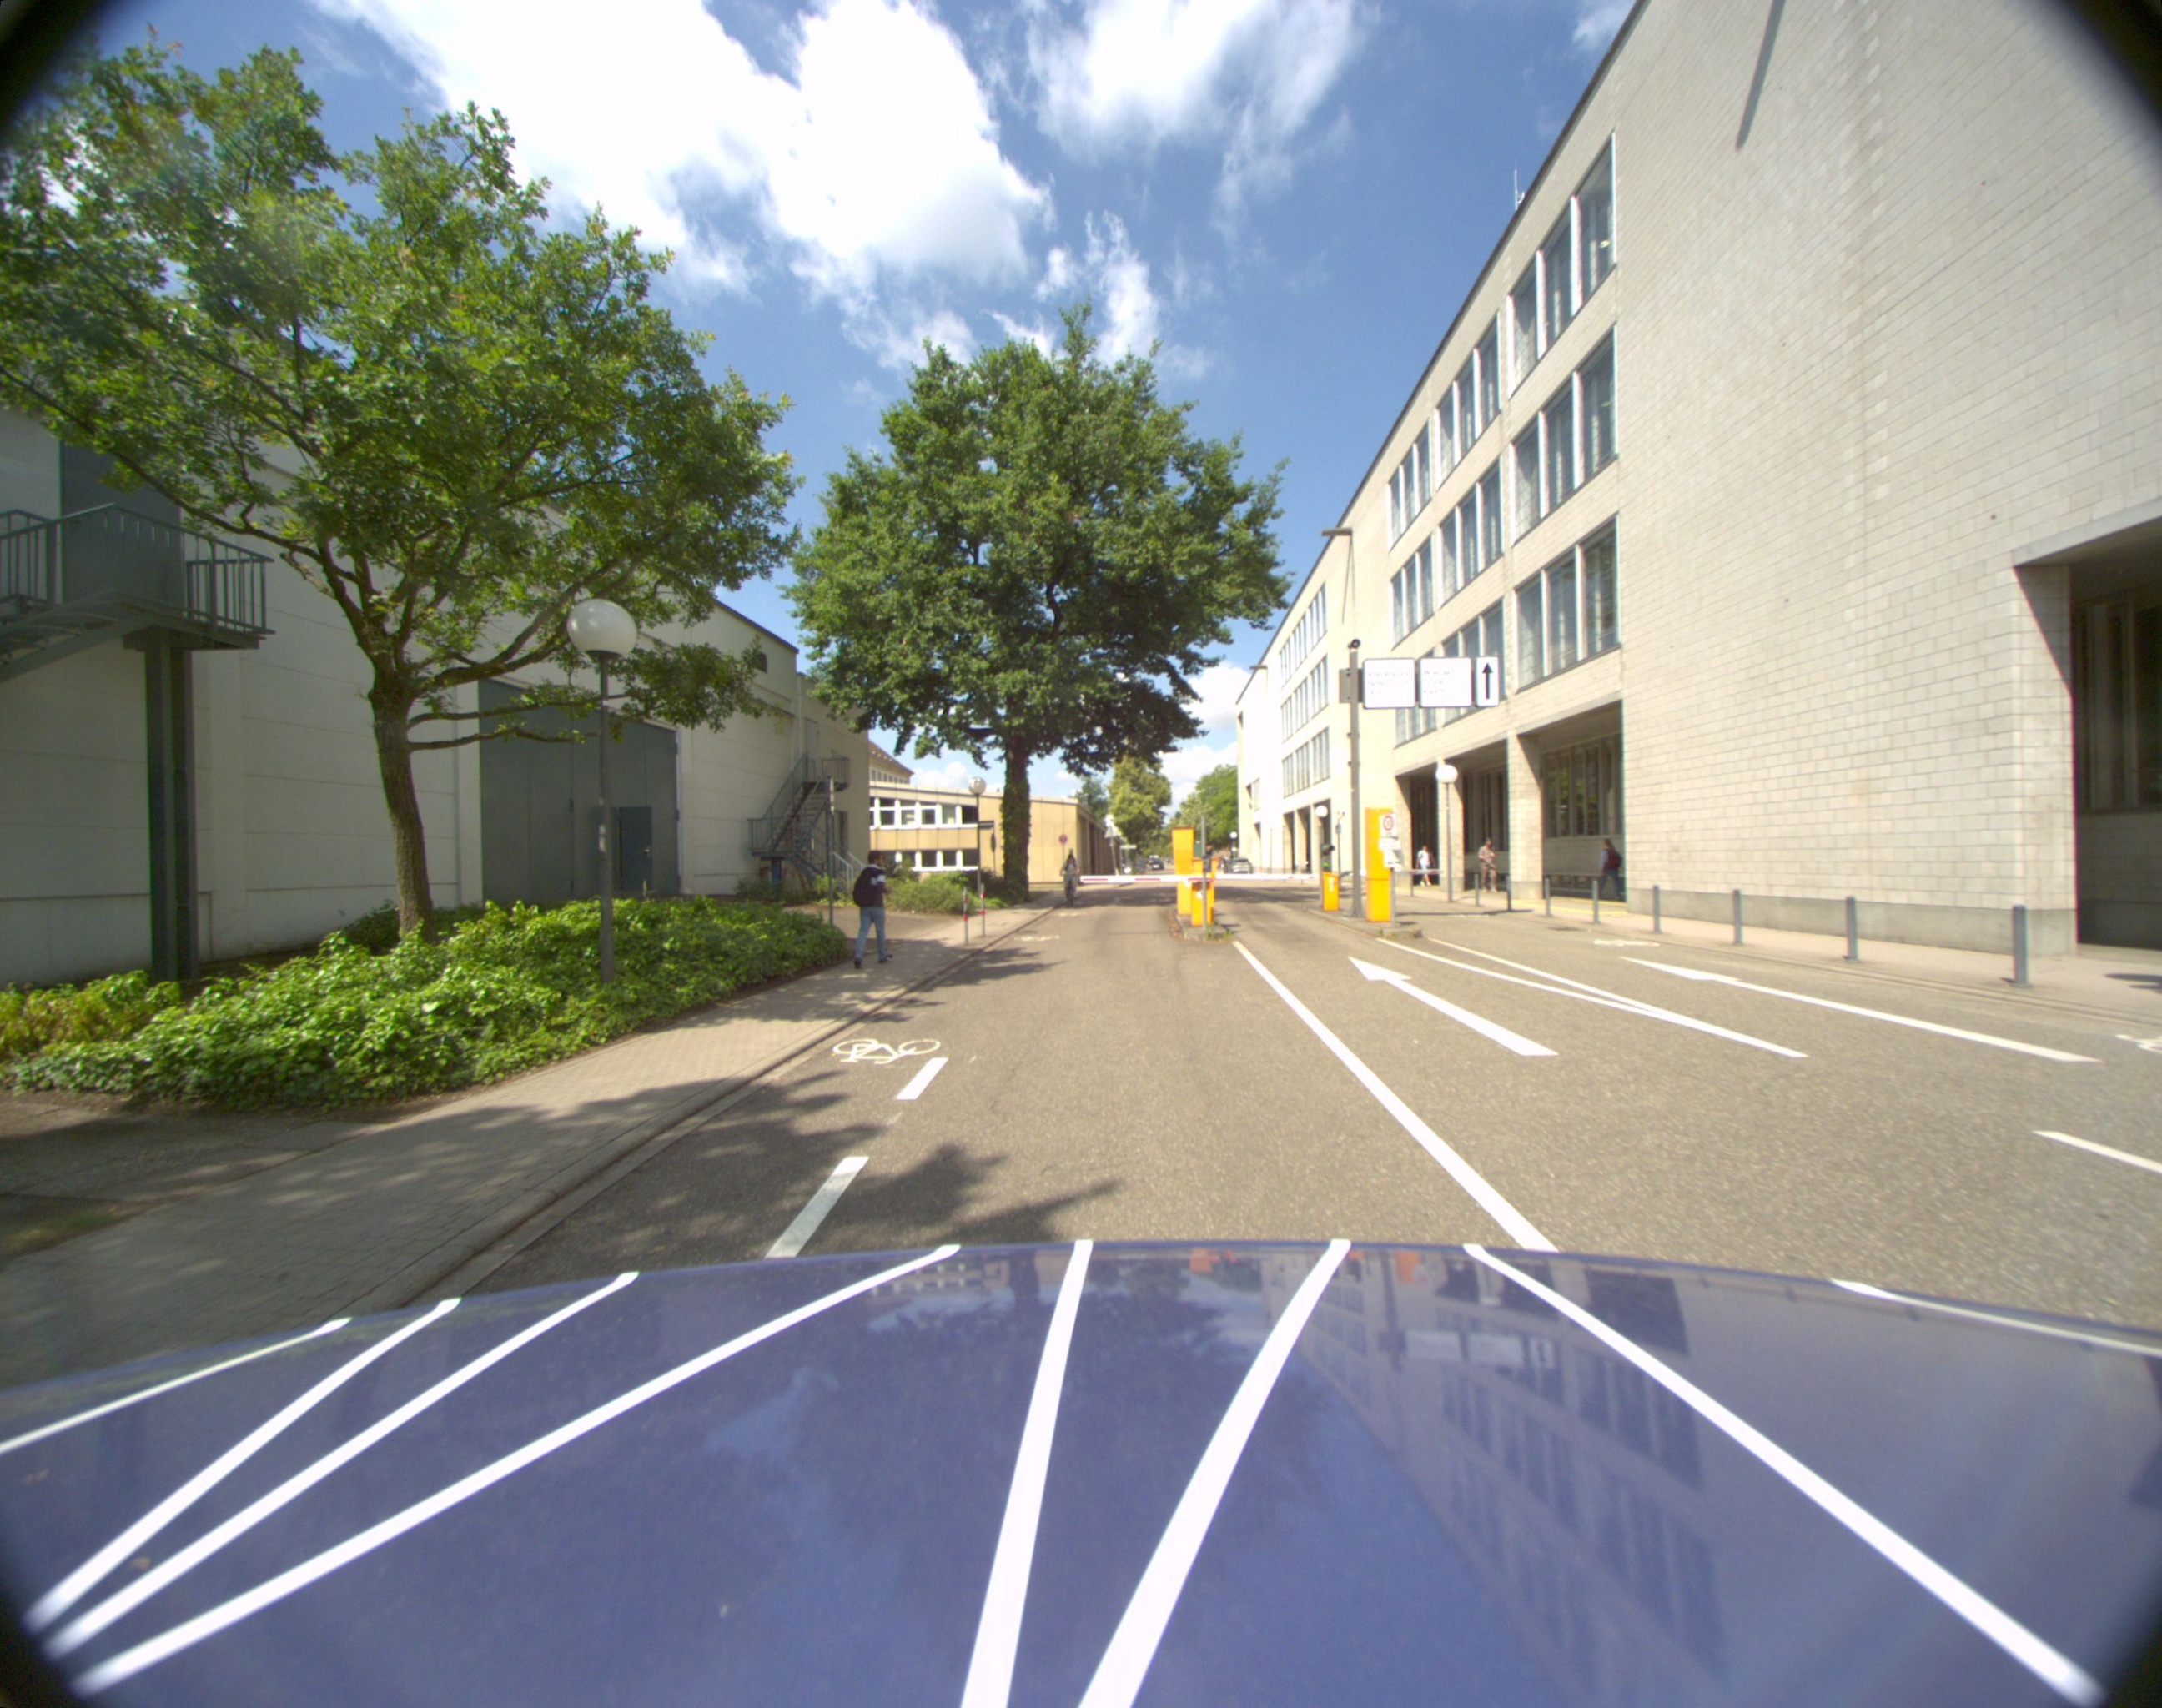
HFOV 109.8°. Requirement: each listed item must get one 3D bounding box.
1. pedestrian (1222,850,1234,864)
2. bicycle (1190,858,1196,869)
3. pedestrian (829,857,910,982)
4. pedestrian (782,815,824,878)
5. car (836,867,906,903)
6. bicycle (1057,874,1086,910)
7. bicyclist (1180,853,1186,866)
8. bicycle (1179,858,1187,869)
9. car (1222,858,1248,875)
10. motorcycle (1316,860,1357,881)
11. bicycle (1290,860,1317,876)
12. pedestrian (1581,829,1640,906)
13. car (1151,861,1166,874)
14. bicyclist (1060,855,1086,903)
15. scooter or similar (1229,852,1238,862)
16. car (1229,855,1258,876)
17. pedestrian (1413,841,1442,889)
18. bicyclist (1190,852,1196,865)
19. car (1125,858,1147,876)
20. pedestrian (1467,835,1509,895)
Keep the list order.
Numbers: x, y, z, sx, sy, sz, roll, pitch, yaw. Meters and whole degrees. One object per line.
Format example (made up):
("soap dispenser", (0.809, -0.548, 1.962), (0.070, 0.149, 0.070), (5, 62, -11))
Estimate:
("pedestrian", (20.098, 0.375, 103.627), (1.399, 1.813, 1.370), (-2, 0, 4))
("bicycle", (15.706, 1.272, 106.592), (0.639, 1.485, 1.936), (-2, 0, 1))
("pedestrian", (-2.975, 0.880, 10.811), (0.741, 1.665, 1.256), (-1, 0, 2))
("pedestrian", (-9.006, -0.227, 24.643), (0.928, 2.002, 0.950), (-1, 0, 8))
("car", (-9.437, 1.348, 34.463), (1.670, 1.468, 4.183), (-1, 0, 5))
("bicycle", (-0.287, 1.189, 24.206), (0.781, 1.042, 1.913), (-1, 0, 3))
("bicyclist", (14.217, 0.716, 105.927), (0.761, 1.766, 0.733), (-2, 0, 0))
("bicycle", (14.243, 1.313, 105.980), (0.797, 1.485, 2.062), (-2, 0, 1))
("car", (13.794, 1.127, 68.326), (1.730, 1.414, 4.667), (-2, 0, 5))
("motorcycle", (14.882, 0.961, 44.276), (2.172, 1.131, 0.774), (-1, 0, -5))
("bicycle", (15.628, 1.002, 53.414), (1.643, 1.080, 0.608), (-2, 0, 0))
("pedestrian", (14.265, 0.351, 20.497), (0.850, 2.002, 1.066), (-1, 0, 3))
("car", (11.103, 1.944, 108.922), (1.997, 1.805, 4.002), (-1, 0, 6))
("bicyclist", (-0.251, 0.788, 24.146), (0.780, 1.478, 0.696), (-1, 0, 3))
("scooter or similar", (20.245, 0.375, 100.623), (0.713, 1.184, 1.618), (-1, 1, 27))
("car", (13.317, 0.902, 62.579), (1.730, 1.526, 4.407), (-3, 0, 5))
("pedestrian", (14.730, 0.450, 32.315), (0.858, 2.002, 0.881), (-2, 0, 7))
("bicyclist", (15.692, 0.676, 106.592), (0.609, 1.754, 0.696), (-2, 0, 0))
("car", (4.709, 1.080, 64.725), (1.760, 1.559, 3.819), (0, 0, 4))
("pedestrian", (13.859, 0.365, 25.898), (0.850, 2.002, 1.066), (-1, 0, 3))
